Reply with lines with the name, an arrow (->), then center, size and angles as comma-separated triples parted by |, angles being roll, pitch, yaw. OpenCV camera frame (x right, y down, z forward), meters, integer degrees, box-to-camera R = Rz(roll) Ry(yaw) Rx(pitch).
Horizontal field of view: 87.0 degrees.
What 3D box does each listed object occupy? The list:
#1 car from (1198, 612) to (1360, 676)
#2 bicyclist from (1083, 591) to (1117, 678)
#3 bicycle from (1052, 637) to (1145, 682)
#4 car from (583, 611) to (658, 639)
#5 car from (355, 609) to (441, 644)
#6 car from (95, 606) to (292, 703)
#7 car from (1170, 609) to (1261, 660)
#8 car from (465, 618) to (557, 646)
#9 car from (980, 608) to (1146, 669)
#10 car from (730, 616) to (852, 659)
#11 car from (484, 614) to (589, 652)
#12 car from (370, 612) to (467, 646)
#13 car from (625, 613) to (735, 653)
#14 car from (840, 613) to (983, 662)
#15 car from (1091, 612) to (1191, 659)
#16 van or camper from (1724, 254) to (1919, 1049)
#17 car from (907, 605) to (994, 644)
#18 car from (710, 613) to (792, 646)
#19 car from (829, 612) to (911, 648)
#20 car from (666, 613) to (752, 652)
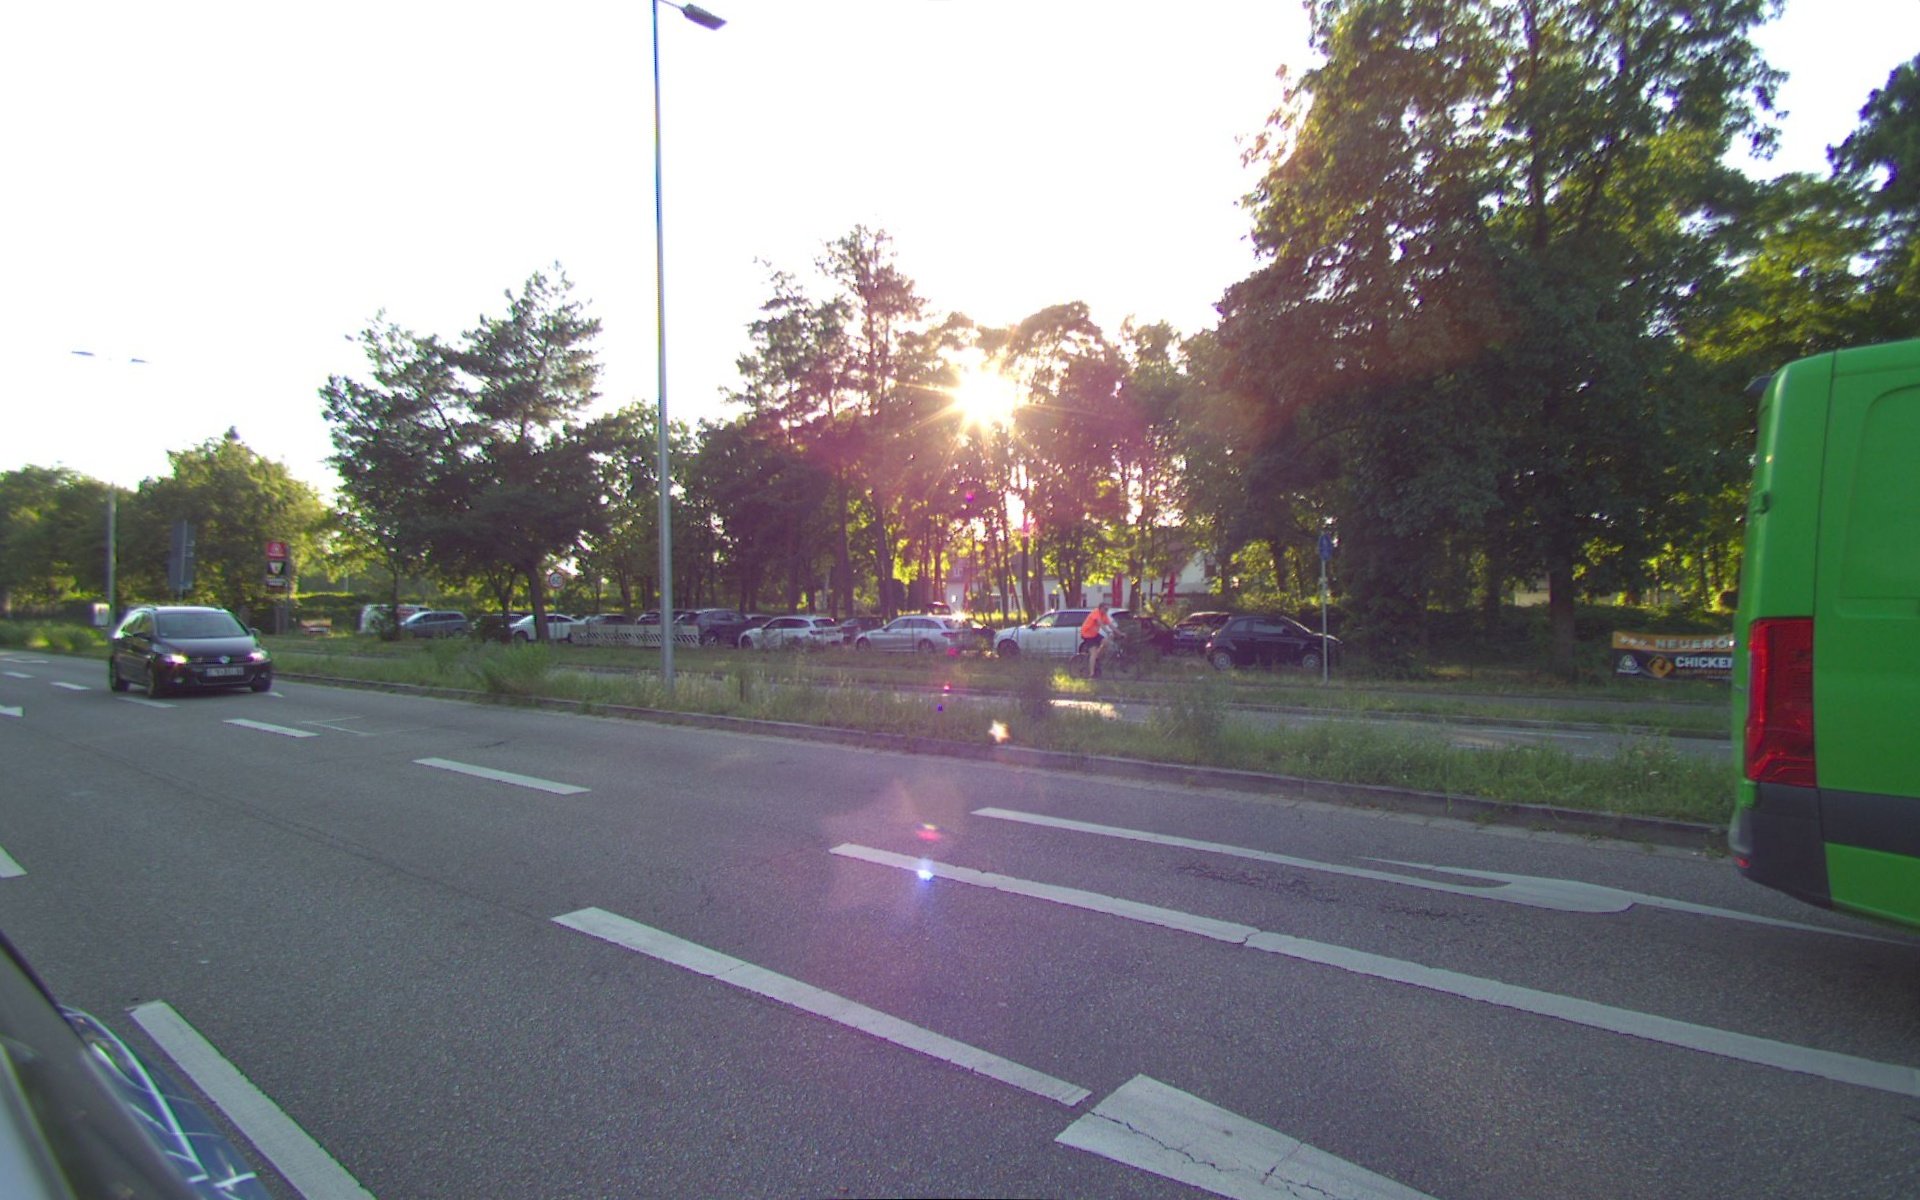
car -> 8.572, 1.145, 27.258 | 3.807, 1.609, 1.838 | -1, -2, 36
bicyclist -> 3.093, 0.761, 22.351 | 0.616, 1.888, 0.454 | -1, -2, 33
bicycle -> 3.043, 1.298, 22.402 | 2.038, 0.940, 0.488 | -1, -2, 33
car -> -20.499, 1.505, 61.246 | 1.765, 1.663, 3.947 | -1, -2, 40
car -> -32.539, 1.516, 58.678 | 1.764, 1.959, 3.949 | -1, -2, 38
car -> -14.049, 0.930, 18.484 | 3.996, 1.564, 1.974 | -1, -2, 39
car -> 8.999, 1.172, 35.452 | 1.914, 1.663, 3.954 | -1, -1, 34
car -> -22.649, 1.593, 51.156 | 1.731, 1.322, 3.947 | -1, -2, 39
car -> 3.173, 1.175, 31.814 | 4.913, 1.800, 1.975 | -1, -2, 37
car -> -6.606, 1.414, 39.303 | 4.701, 1.560, 1.975 | -1, -2, 37
car -> -20.805, 1.621, 49.852 | 1.908, 1.767, 4.441 | -1, -2, 39
car -> -30.262, 1.605, 56.660 | 1.907, 1.811, 4.443 | -1, -2, 38
car -> -12.095, 1.417, 43.980 | 1.769, 1.629, 4.470 | -1, -2, 37
car -> -1.747, 1.284, 35.600 | 4.913, 1.619, 1.975 | -1, -2, 37
car -> 6.822, 1.310, 37.855 | 1.918, 1.663, 3.944 | -1, -2, 42
van or camper -> 5.470, 0.133, 2.273 | 5.891, 2.439, 1.973 | -1, -2, 40
car -> -0.387, 1.102, 45.121 | 1.765, 1.663, 3.947 | -1, -2, 39
car -> -10.903, 1.520, 52.957 | 1.765, 1.663, 3.947 | -1, -2, 40
car -> -4.322, 1.449, 49.055 | 1.765, 1.663, 3.947 | -1, -2, 39
car -> -10.217, 1.315, 41.314 | 1.657, 1.538, 3.060 | -1, -2, 38
